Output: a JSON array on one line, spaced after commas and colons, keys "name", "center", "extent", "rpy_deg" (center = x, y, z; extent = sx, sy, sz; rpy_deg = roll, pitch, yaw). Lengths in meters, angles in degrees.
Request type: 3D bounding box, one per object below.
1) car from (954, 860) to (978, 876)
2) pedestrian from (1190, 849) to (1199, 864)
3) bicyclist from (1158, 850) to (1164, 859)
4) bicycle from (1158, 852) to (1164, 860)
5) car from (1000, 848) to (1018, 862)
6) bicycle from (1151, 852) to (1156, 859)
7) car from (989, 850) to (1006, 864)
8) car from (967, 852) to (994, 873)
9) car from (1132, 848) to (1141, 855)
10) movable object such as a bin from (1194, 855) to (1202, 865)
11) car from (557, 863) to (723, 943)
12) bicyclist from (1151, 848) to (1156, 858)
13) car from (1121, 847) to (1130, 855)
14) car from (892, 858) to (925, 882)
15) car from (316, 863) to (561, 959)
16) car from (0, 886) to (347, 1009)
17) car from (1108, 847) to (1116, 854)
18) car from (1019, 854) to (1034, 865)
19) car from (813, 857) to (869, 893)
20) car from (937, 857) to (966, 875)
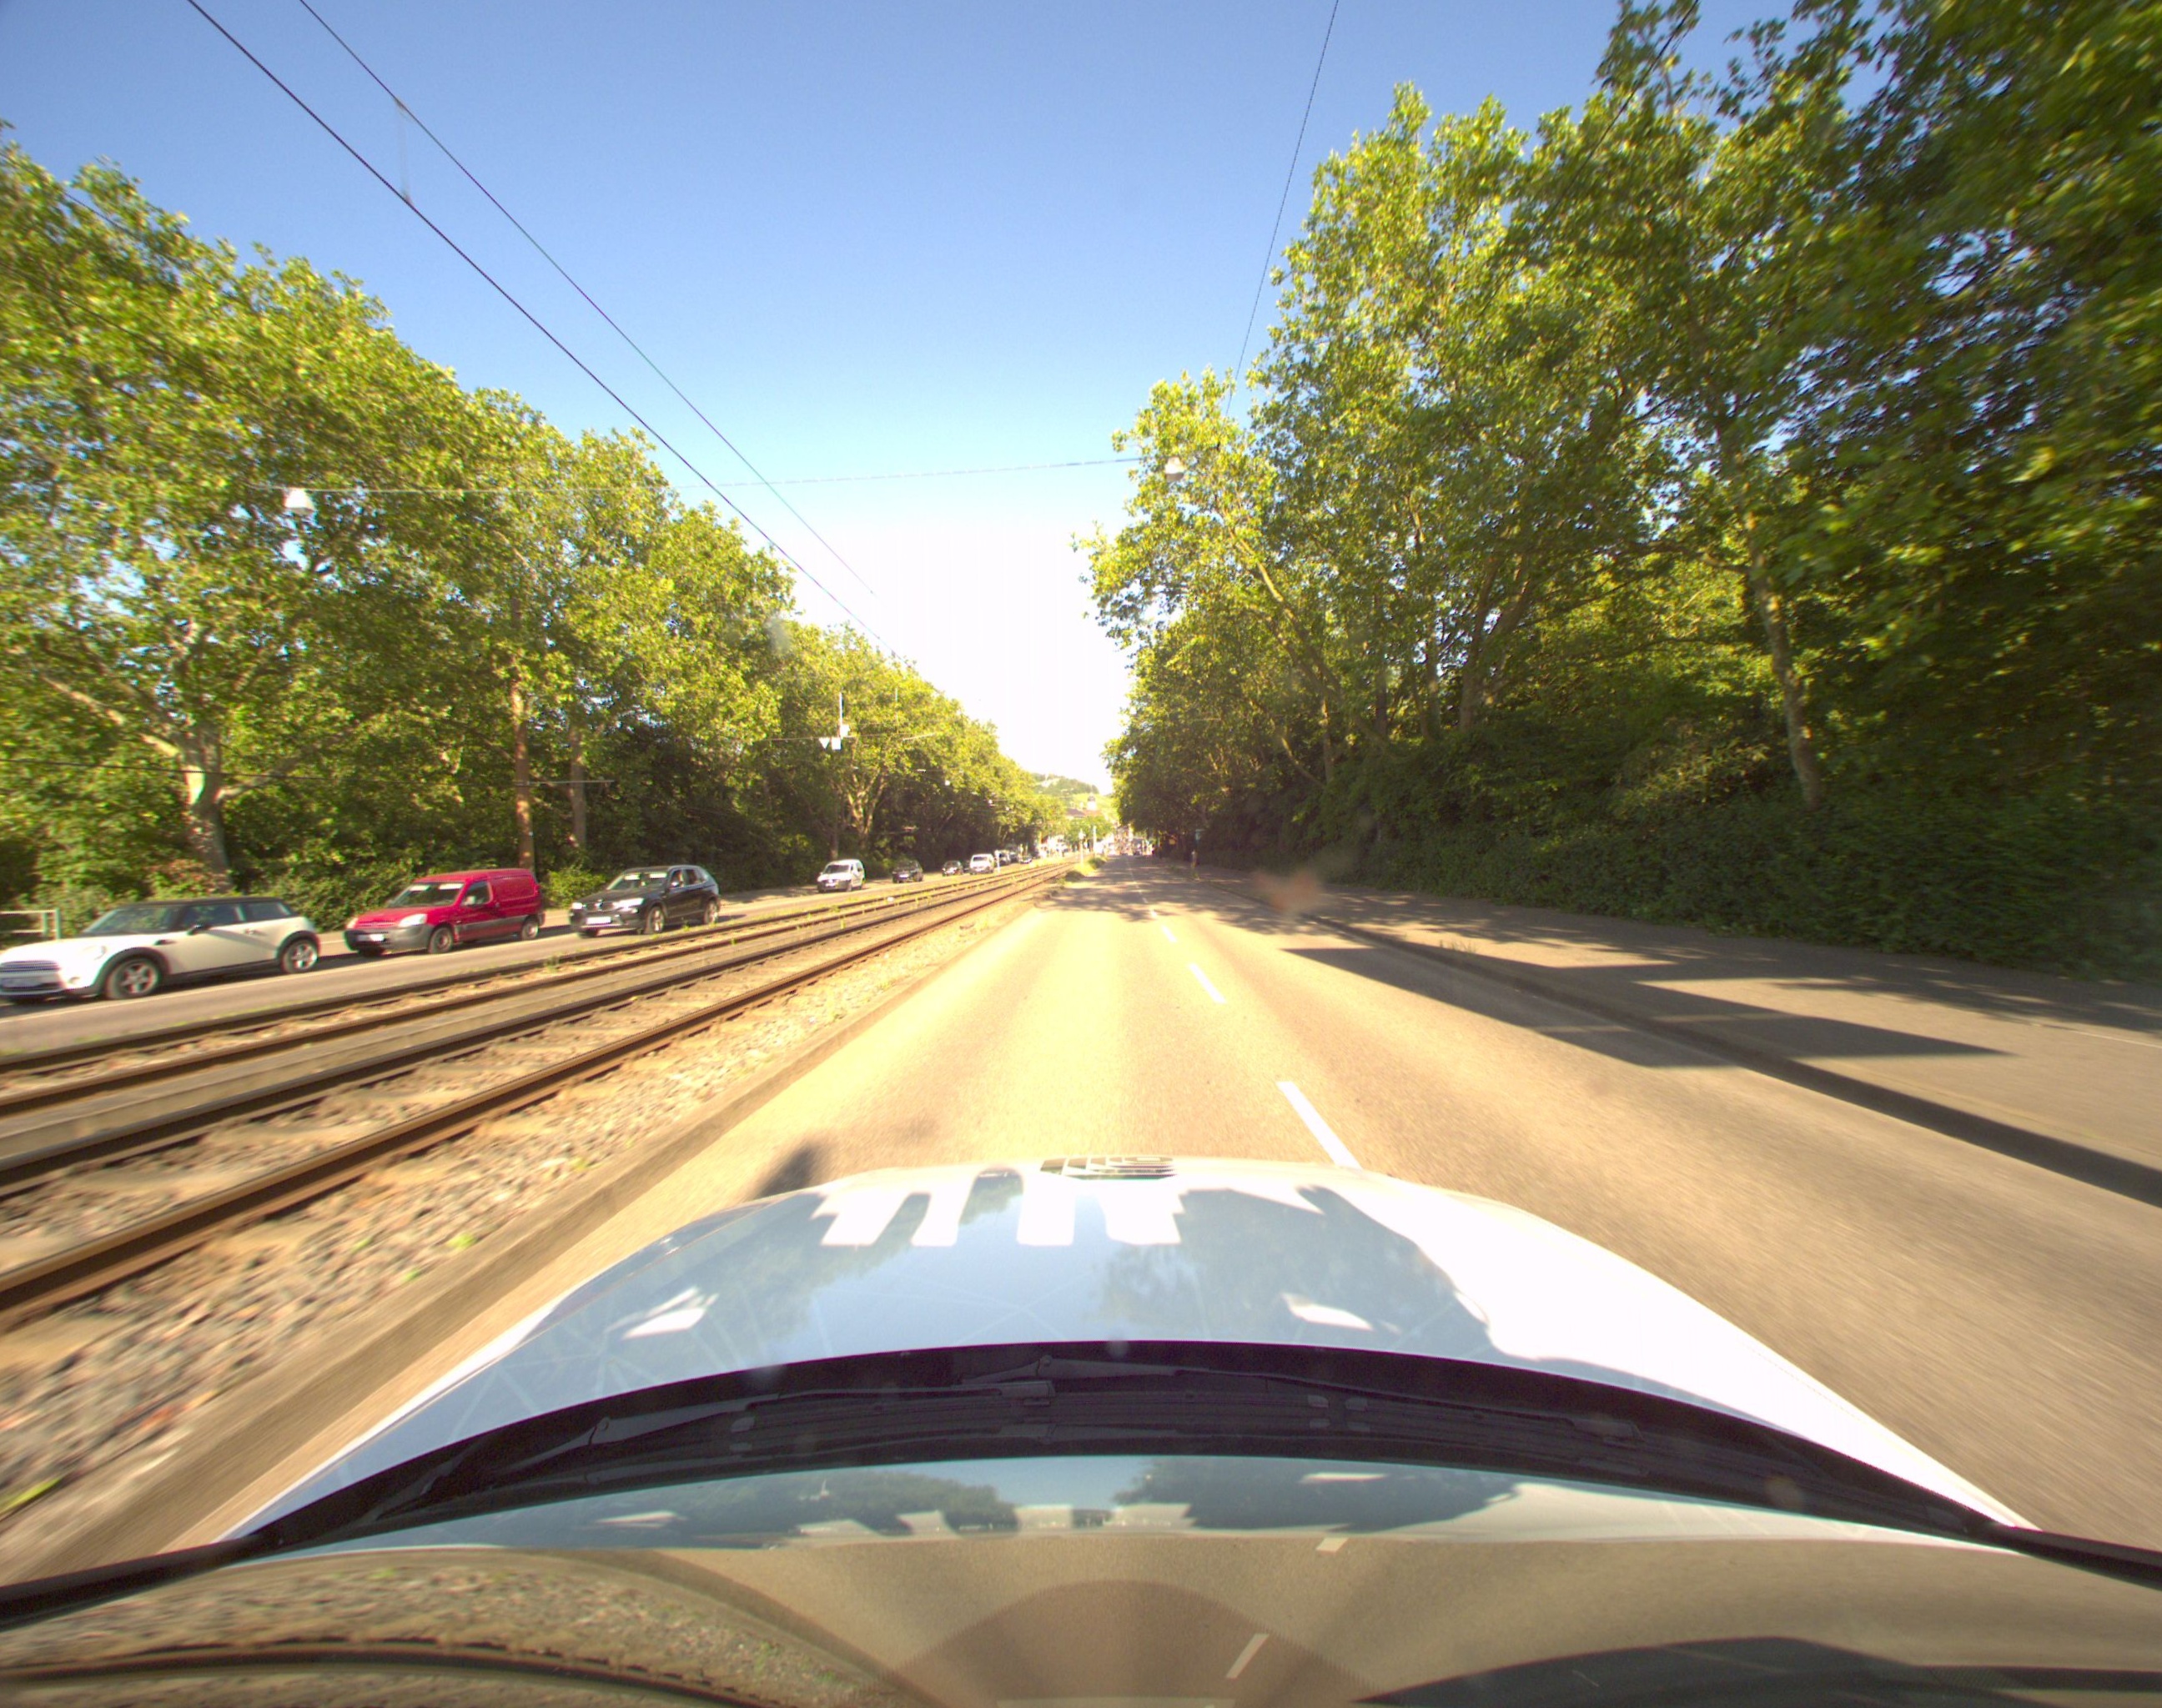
[{"name": "car", "center": [-13.287, 1.565, 94.582], "extent": [1.987, 1.697, 4.745], "rpy_deg": [-2, 0, 1]}, {"name": "pedestrian", "center": [11.495, 0.253, 82.321], "extent": [0.800, 1.546, 0.815], "rpy_deg": [-2, 0, 6]}, {"name": "bicyclist", "center": [13.520, 0.075, 137.804], "extent": [0.883, 1.638, 1.165], "rpy_deg": [-2, 0, 2]}, {"name": "bicycle", "center": [13.530, 0.360, 137.705], "extent": [0.883, 1.321, 2.641], "rpy_deg": [-2, 0, 2]}, {"name": "car", "center": [-13.632, 0.211, 154.531], "extent": [2.384, 2.523, 5.903], "rpy_deg": [-2, 0, 2]}, {"name": "bicycle", "center": [14.091, 0.230, 158.314], "extent": [0.883, 1.321, 2.641], "rpy_deg": [-2, 0, 2]}, {"name": "car", "center": [-13.496, 0.538, 131.621], "extent": [1.987, 2.164, 5.815], "rpy_deg": [-2, 0, 1]}, {"name": "car", "center": [-9.701, 0.806, 79.083], "extent": [1.988, 1.844, 5.298], "rpy_deg": [-2, 0, -2]}, {"name": "car", "center": [16.015, -0.701, 235.981], "extent": [2.384, 1.999, 5.308], "rpy_deg": [-2, 0, 2]}, {"name": "movable object such as a bin", "center": [11.712, 0.602, 81.439], "extent": [0.800, 0.947, 0.657], "rpy_deg": [-2, 0, 5]}, {"name": "car", "center": [-10.974, 1.136, 20.703], "extent": [1.736, 1.623, 4.394], "rpy_deg": [-3, 1, 0]}, {"name": "bicyclist", "center": [14.087, -0.203, 158.353], "extent": [0.883, 1.774, 1.223], "rpy_deg": [-2, 0, 2]}, {"name": "car", "center": [13.098, -0.895, 240.752], "extent": [2.384, 1.999, 5.308], "rpy_deg": [-2, 0, 2]}, {"name": "car", "center": [-13.061, 1.163, 61.831], "extent": [1.738, 1.636, 3.996], "rpy_deg": [-3, 0, -3]}, {"name": "car", "center": [-14.254, 1.167, 18.515], "extent": [1.735, 1.754, 4.686], "rpy_deg": [-2, 1, 1]}, {"name": "car", "center": [-14.490, 1.363, 13.136], "extent": [1.628, 1.450, 4.001], "rpy_deg": [-2, 1, 0]}, {"name": "car", "center": [9.592, -1.112, 250.501], "extent": [2.384, 1.999, 5.308], "rpy_deg": [-2, 0, 2]}, {"name": "car", "center": [-9.295, 0.950, 139.379], "extent": [1.987, 1.697, 4.745], "rpy_deg": [-2, 0, 1]}, {"name": "car", "center": [-13.653, 1.166, 46.638], "extent": [1.736, 1.743, 4.513], "rpy_deg": [-5, 1, 0]}, {"name": "car", "center": [-12.915, 1.184, 81.639], "extent": [1.987, 1.697, 4.745], "rpy_deg": [-2, 0, 1]}]
